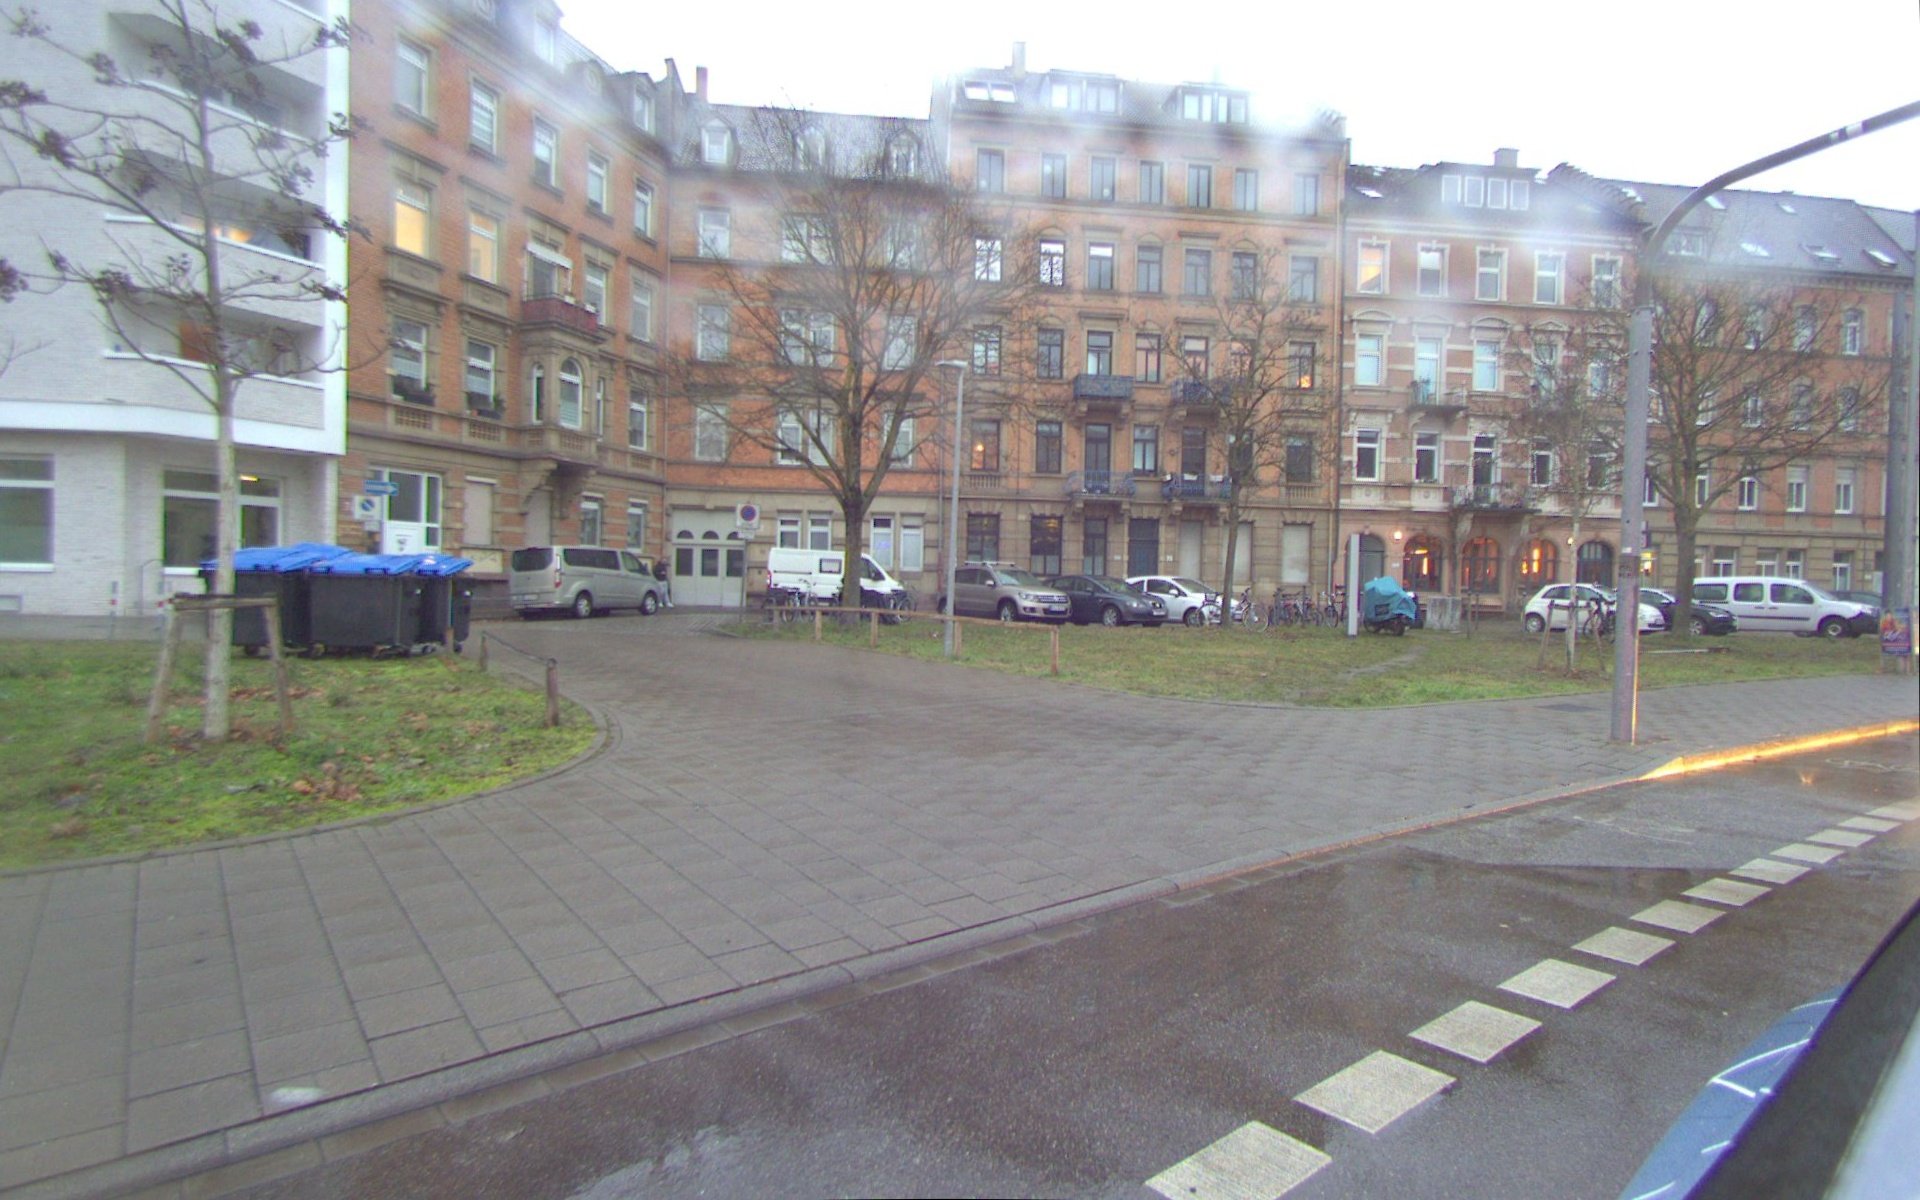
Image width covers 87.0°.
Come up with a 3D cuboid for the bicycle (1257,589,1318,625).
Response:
[{"bbox_3d":[9.410,0.184,29.192,0.613,0.978,2.175,3,-1,-13],"label":"bicycle"}]

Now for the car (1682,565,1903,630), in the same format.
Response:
[{"bbox_3d":[24.149,-0.137,29.525,1.745,1.611,4.663,0,3,-37],"label":"car"}]

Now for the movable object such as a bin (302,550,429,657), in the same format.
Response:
[{"bbox_3d":[-8.323,0.029,14.221,1.200,1.433,1.018,1,2,-3],"label":"movable object such as a bin"}]

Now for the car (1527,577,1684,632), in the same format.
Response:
[{"bbox_3d":[18.440,0.124,29.011,1.583,1.461,3.467,1,0,-34],"label":"car"}]

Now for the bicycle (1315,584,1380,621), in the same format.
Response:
[{"bbox_3d":[11.214,0.066,29.369,0.613,0.978,2.176,1,2,-13],"label":"bicycle"}]

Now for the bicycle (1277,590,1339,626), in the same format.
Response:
[{"bbox_3d":[10.050,0.211,29.336,0.613,0.978,2.175,3,-1,-13],"label":"bicycle"}]

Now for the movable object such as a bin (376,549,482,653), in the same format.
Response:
[{"bbox_3d":[-8.030,0.023,15.343,1.022,1.509,1.035,0,-1,6],"label":"movable object such as a bin"}]

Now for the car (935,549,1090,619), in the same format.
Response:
[{"bbox_3d":[1.295,-0.468,26.435,1.908,1.656,4.000,-1,3,-37],"label":"car"}]

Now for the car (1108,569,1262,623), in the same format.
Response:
[{"bbox_3d":[6.053,-0.142,27.568,1.669,1.353,3.852,0,1,-42],"label":"car"}]

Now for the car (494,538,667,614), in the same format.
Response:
[{"bbox_3d":[-10.562,-0.591,28.599,1.976,1.943,4.715,-1,-1,21],"label":"car"}]

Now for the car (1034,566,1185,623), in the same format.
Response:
[{"bbox_3d":[3.886,-0.143,26.650,1.649,1.372,3.737,2,0,-42],"label":"car"}]

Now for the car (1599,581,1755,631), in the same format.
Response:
[{"bbox_3d":[20.959,0.152,29.678,1.634,1.368,3.430,1,0,-39],"label":"car"}]

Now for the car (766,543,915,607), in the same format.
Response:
[{"bbox_3d":[-4.088,-0.853,34.539,4.884,2.038,2.004,1,2,-8],"label":"car"}]

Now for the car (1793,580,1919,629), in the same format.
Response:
[{"bbox_3d":[27.145,0.162,29.488,1.737,1.250,4.066,2,3,-35],"label":"car"}]

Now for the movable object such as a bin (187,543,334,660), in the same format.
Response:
[{"bbox_3d":[-9.662,0.009,14.037,1.303,1.513,1.032,2,1,-3],"label":"movable object such as a bin"}]

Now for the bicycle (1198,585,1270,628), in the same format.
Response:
[{"bbox_3d":[6.610,0.144,24.428,1.628,0.948,0.512,2,1,15],"label":"bicycle"}]
